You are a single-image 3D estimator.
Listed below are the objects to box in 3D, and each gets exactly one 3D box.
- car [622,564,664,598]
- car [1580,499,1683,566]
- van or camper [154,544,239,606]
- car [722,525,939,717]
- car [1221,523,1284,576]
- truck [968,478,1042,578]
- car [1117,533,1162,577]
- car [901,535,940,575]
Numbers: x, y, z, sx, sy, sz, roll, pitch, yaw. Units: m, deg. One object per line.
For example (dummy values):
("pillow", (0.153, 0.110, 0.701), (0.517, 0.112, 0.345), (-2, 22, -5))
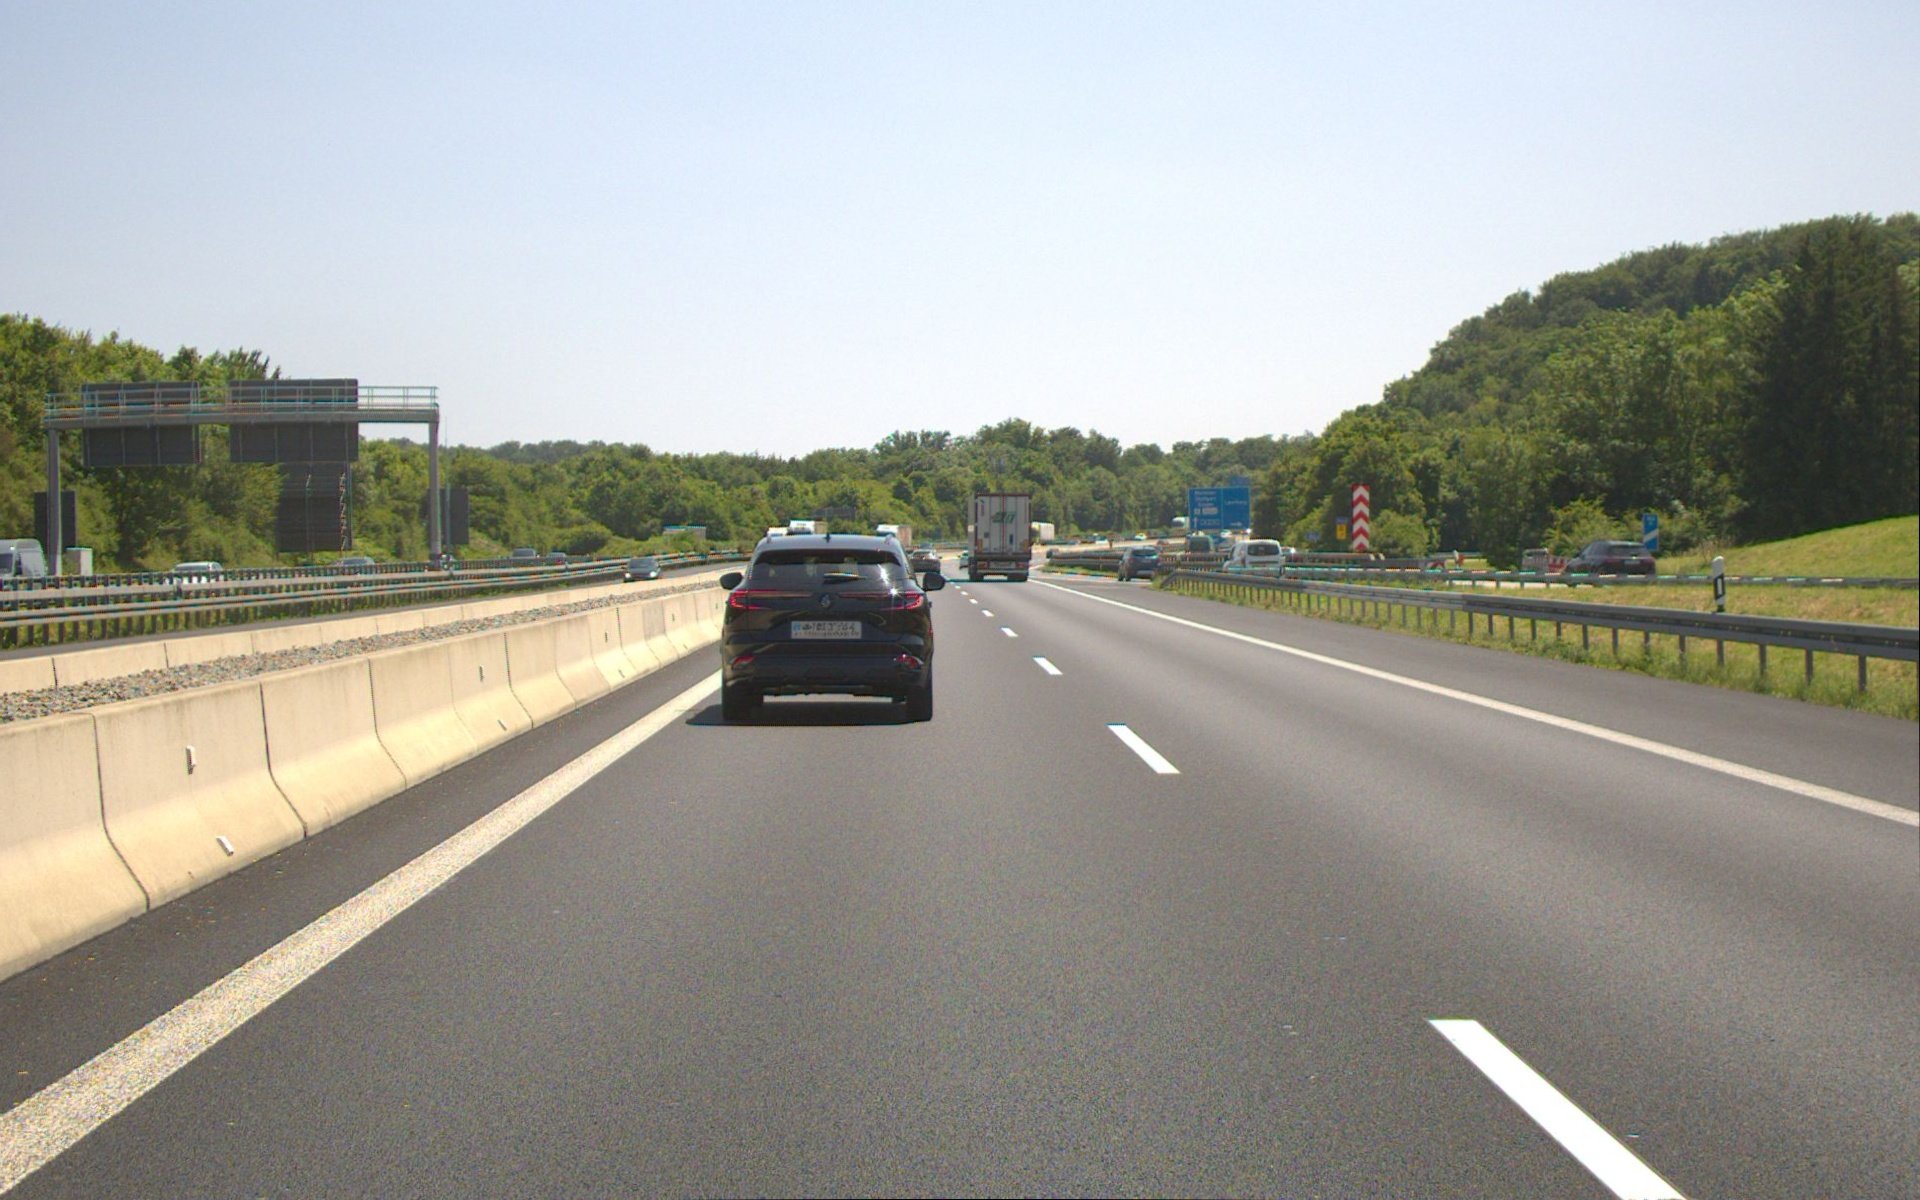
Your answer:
("car", (-14.760, -0.885, 160.206), (1.833, 1.529, 4.160), (1, 0, -4))
("car", (21.381, -2.131, 109.639), (1.993, 2.007, 4.001), (-2, 1, -7))
("van or camper", (-25.804, -0.844, 116.316), (1.993, 2.007, 4.000), (1, 0, -1))
("car", (-1.185, 0.160, 30.599), (1.779, 1.572, 4.000), (1, 0, -3))
("car", (11.366, -1.975, 133.760), (1.993, 2.007, 4.000), (-1, 1, -1))
("truck", (2.045, -3.278, 160.322), (3.032, 4.403, 12.019), (1, 0, -1))
("car", (8.505, -2.114, 163.012), (1.994, 2.007, 3.999), (1, 0, 5))
("car", (-2.274, -2.563, 196.770), (2.138, 2.209, 5.088), (1, 0, -1))
